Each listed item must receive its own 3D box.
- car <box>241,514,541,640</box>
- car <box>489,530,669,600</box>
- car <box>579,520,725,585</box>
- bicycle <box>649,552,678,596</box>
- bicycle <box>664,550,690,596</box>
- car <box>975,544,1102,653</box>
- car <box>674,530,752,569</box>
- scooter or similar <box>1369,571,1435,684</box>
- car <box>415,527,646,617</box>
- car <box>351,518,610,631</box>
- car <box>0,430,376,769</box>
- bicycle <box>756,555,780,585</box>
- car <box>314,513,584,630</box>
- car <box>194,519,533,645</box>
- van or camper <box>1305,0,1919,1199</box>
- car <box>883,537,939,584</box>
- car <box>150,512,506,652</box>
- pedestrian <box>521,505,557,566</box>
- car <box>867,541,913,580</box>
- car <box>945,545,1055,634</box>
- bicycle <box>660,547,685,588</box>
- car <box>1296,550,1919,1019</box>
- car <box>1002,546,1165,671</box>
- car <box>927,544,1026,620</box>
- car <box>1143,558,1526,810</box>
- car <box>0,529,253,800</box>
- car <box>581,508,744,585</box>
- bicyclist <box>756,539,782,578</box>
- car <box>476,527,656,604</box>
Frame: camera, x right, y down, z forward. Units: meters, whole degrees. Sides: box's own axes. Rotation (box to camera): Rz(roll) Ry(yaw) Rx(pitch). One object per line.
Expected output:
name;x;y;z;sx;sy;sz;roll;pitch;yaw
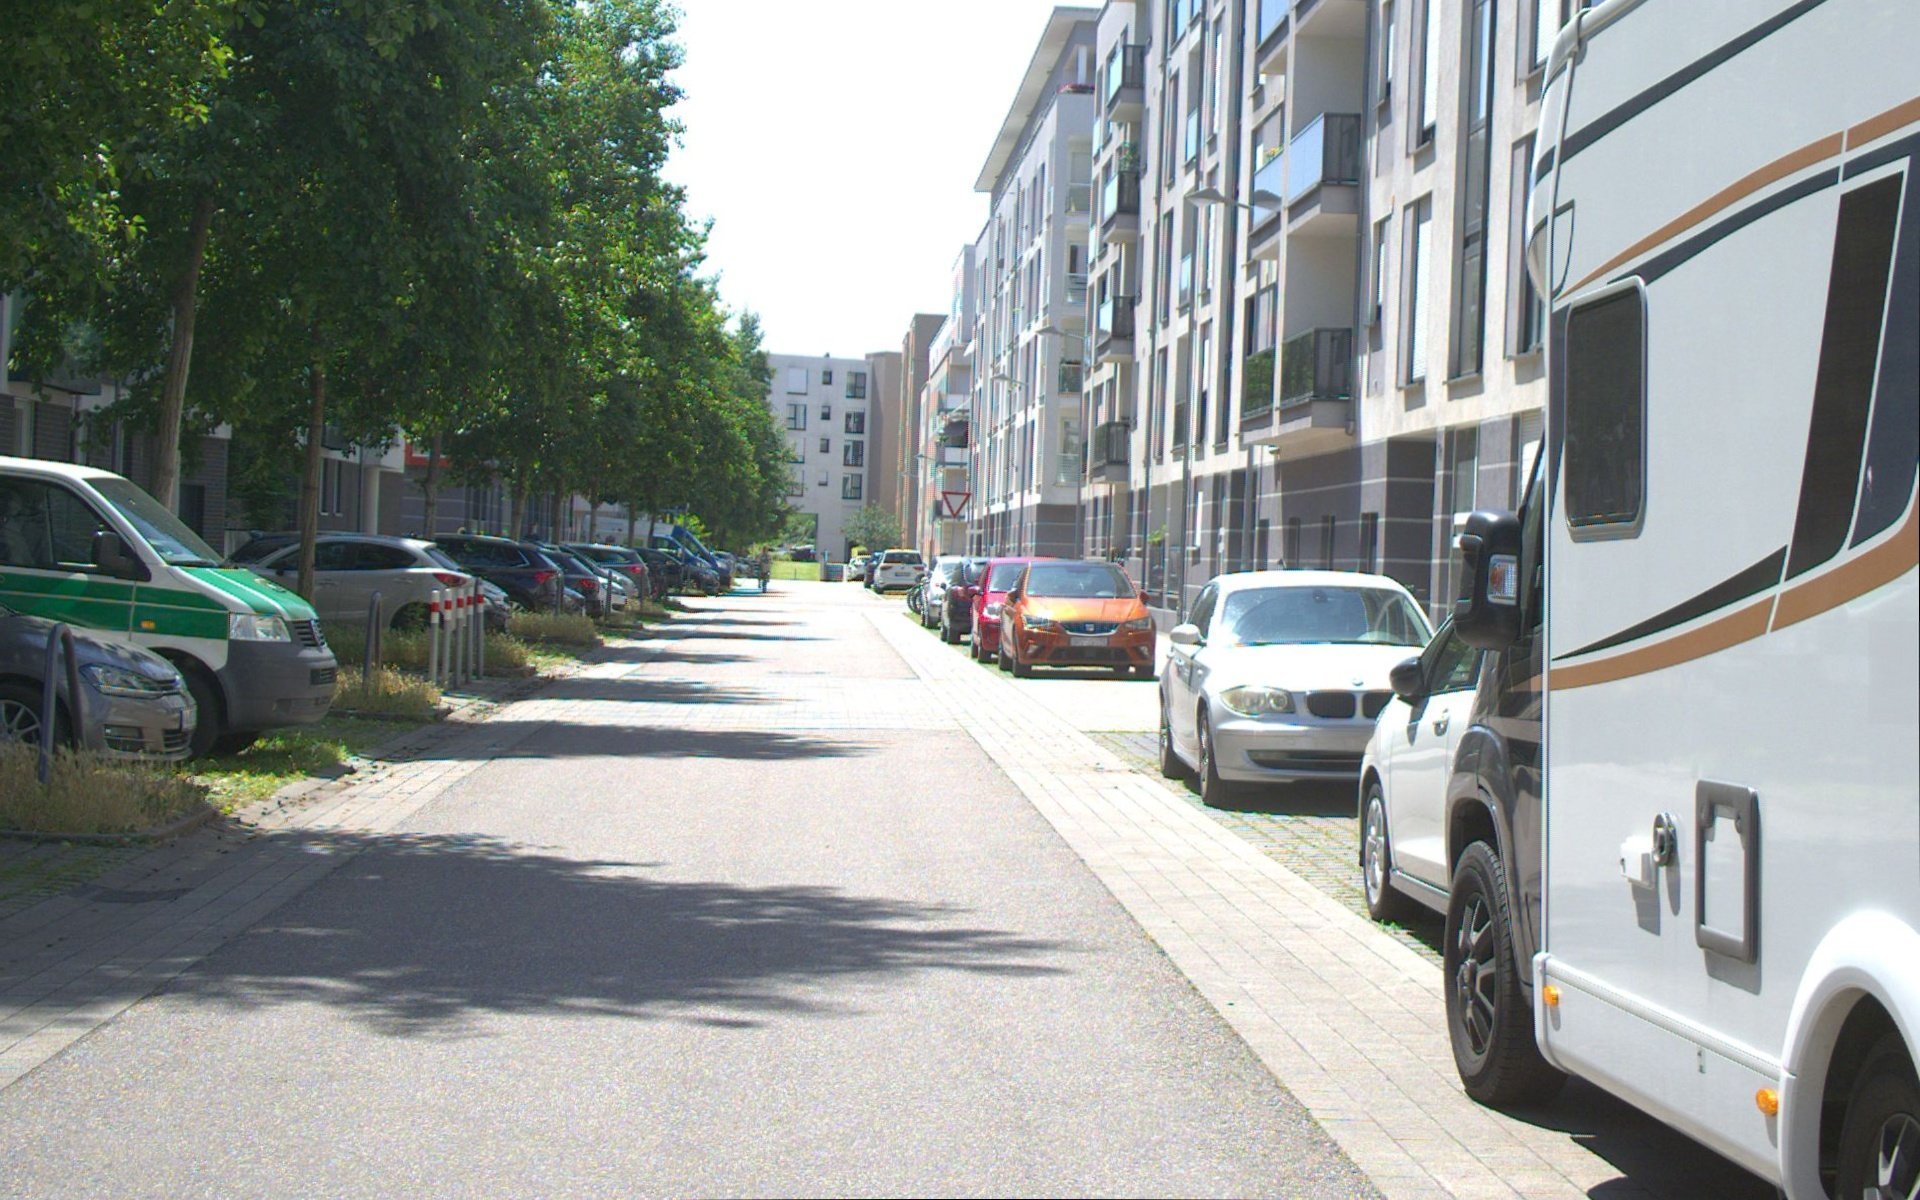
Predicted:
car;-8.192;-0.339;49.761;3.987;1.586;1.884;3;1;-1
car;-9.100;-0.824;82.322;4.180;1.481;1.959;2;0;-6
car;-11.216;-1.751;125.502;5.144;2.112;2.312;2;1;-2
bicycle;-7.754;-0.685;89.780;0.433;1.124;1.979;1;1;-14
bicycle;-7.394;-0.706;89.819;0.371;1.176;1.821;1;1;-14
car;1.083;-0.051;48.941;1.595;1.480;3.676;0;1;-2
car;-13.645;-2.787;189.730;3.987;2.007;2.000;2;1;5
scooter or similar;4.986;0.295;38.729;0.546;1.221;1.528;3;1;13
car;-8.317;-0.554;66.863;4.360;1.704;2.000;0;1;-4
car;-7.942;-0.436;57.209;3.987;1.645;1.918;3;1;0
car;-6.759;-0.056;22.882;5.342;2.103;2.187;1;1;0
bicycle;-7.329;-1.150;131.304;0.898;1.125;2.040;1;1;-3
car;-8.088;-0.464;54.676;3.986;1.624;1.933;3;1;-2
car;-8.147;-0.257;47.200;4.316;1.471;1.793;3;1;-2
van or camper;2.591;0.015;6.950;2.438;2.896;7.828;2;0;-3
car;-1.813;-1.455;125.806;1.997;1.651;4.115;1;1;-2
car;-8.175;-0.243;44.752;4.252;1.512;1.925;4;1;-2
pedestrian;-14.105;-2.156;115.141;1.009;2.007;1.129;1;1;1
car;-2.964;-1.687;145.891;1.757;1.547;4.000;2;1;1
car;0.651;-0.201;58.702;1.642;1.457;4.118;0;1;-3
bicycle;-9.057;-1.031;108.260;0.570;1.170;1.769;4;2;-9
car;2.564;0.565;13.250;1.807;1.499;4.261;0;1;-4
car;1.512;0.070;43.417;1.737;1.482;4.259;0;1;-2
car;0.309;-0.388;70.086;1.834;1.499;4.351;0;1;-2
car;2.304;0.462;22.262;1.845;1.411;4.426;2;1;-1
car;-6.512;0.306;20.051;4.420;1.484;2.000;1;1;-4
car;-11.298;-2.042;130.931;6.023;2.806;2.605;1;1;-2
bicyclist;-7.302;-1.601;131.165;0.953;1.454;0.800;1;1;-3
car;-9.080;-0.809;79.425;3.937;1.548;1.872;3;1;-3
